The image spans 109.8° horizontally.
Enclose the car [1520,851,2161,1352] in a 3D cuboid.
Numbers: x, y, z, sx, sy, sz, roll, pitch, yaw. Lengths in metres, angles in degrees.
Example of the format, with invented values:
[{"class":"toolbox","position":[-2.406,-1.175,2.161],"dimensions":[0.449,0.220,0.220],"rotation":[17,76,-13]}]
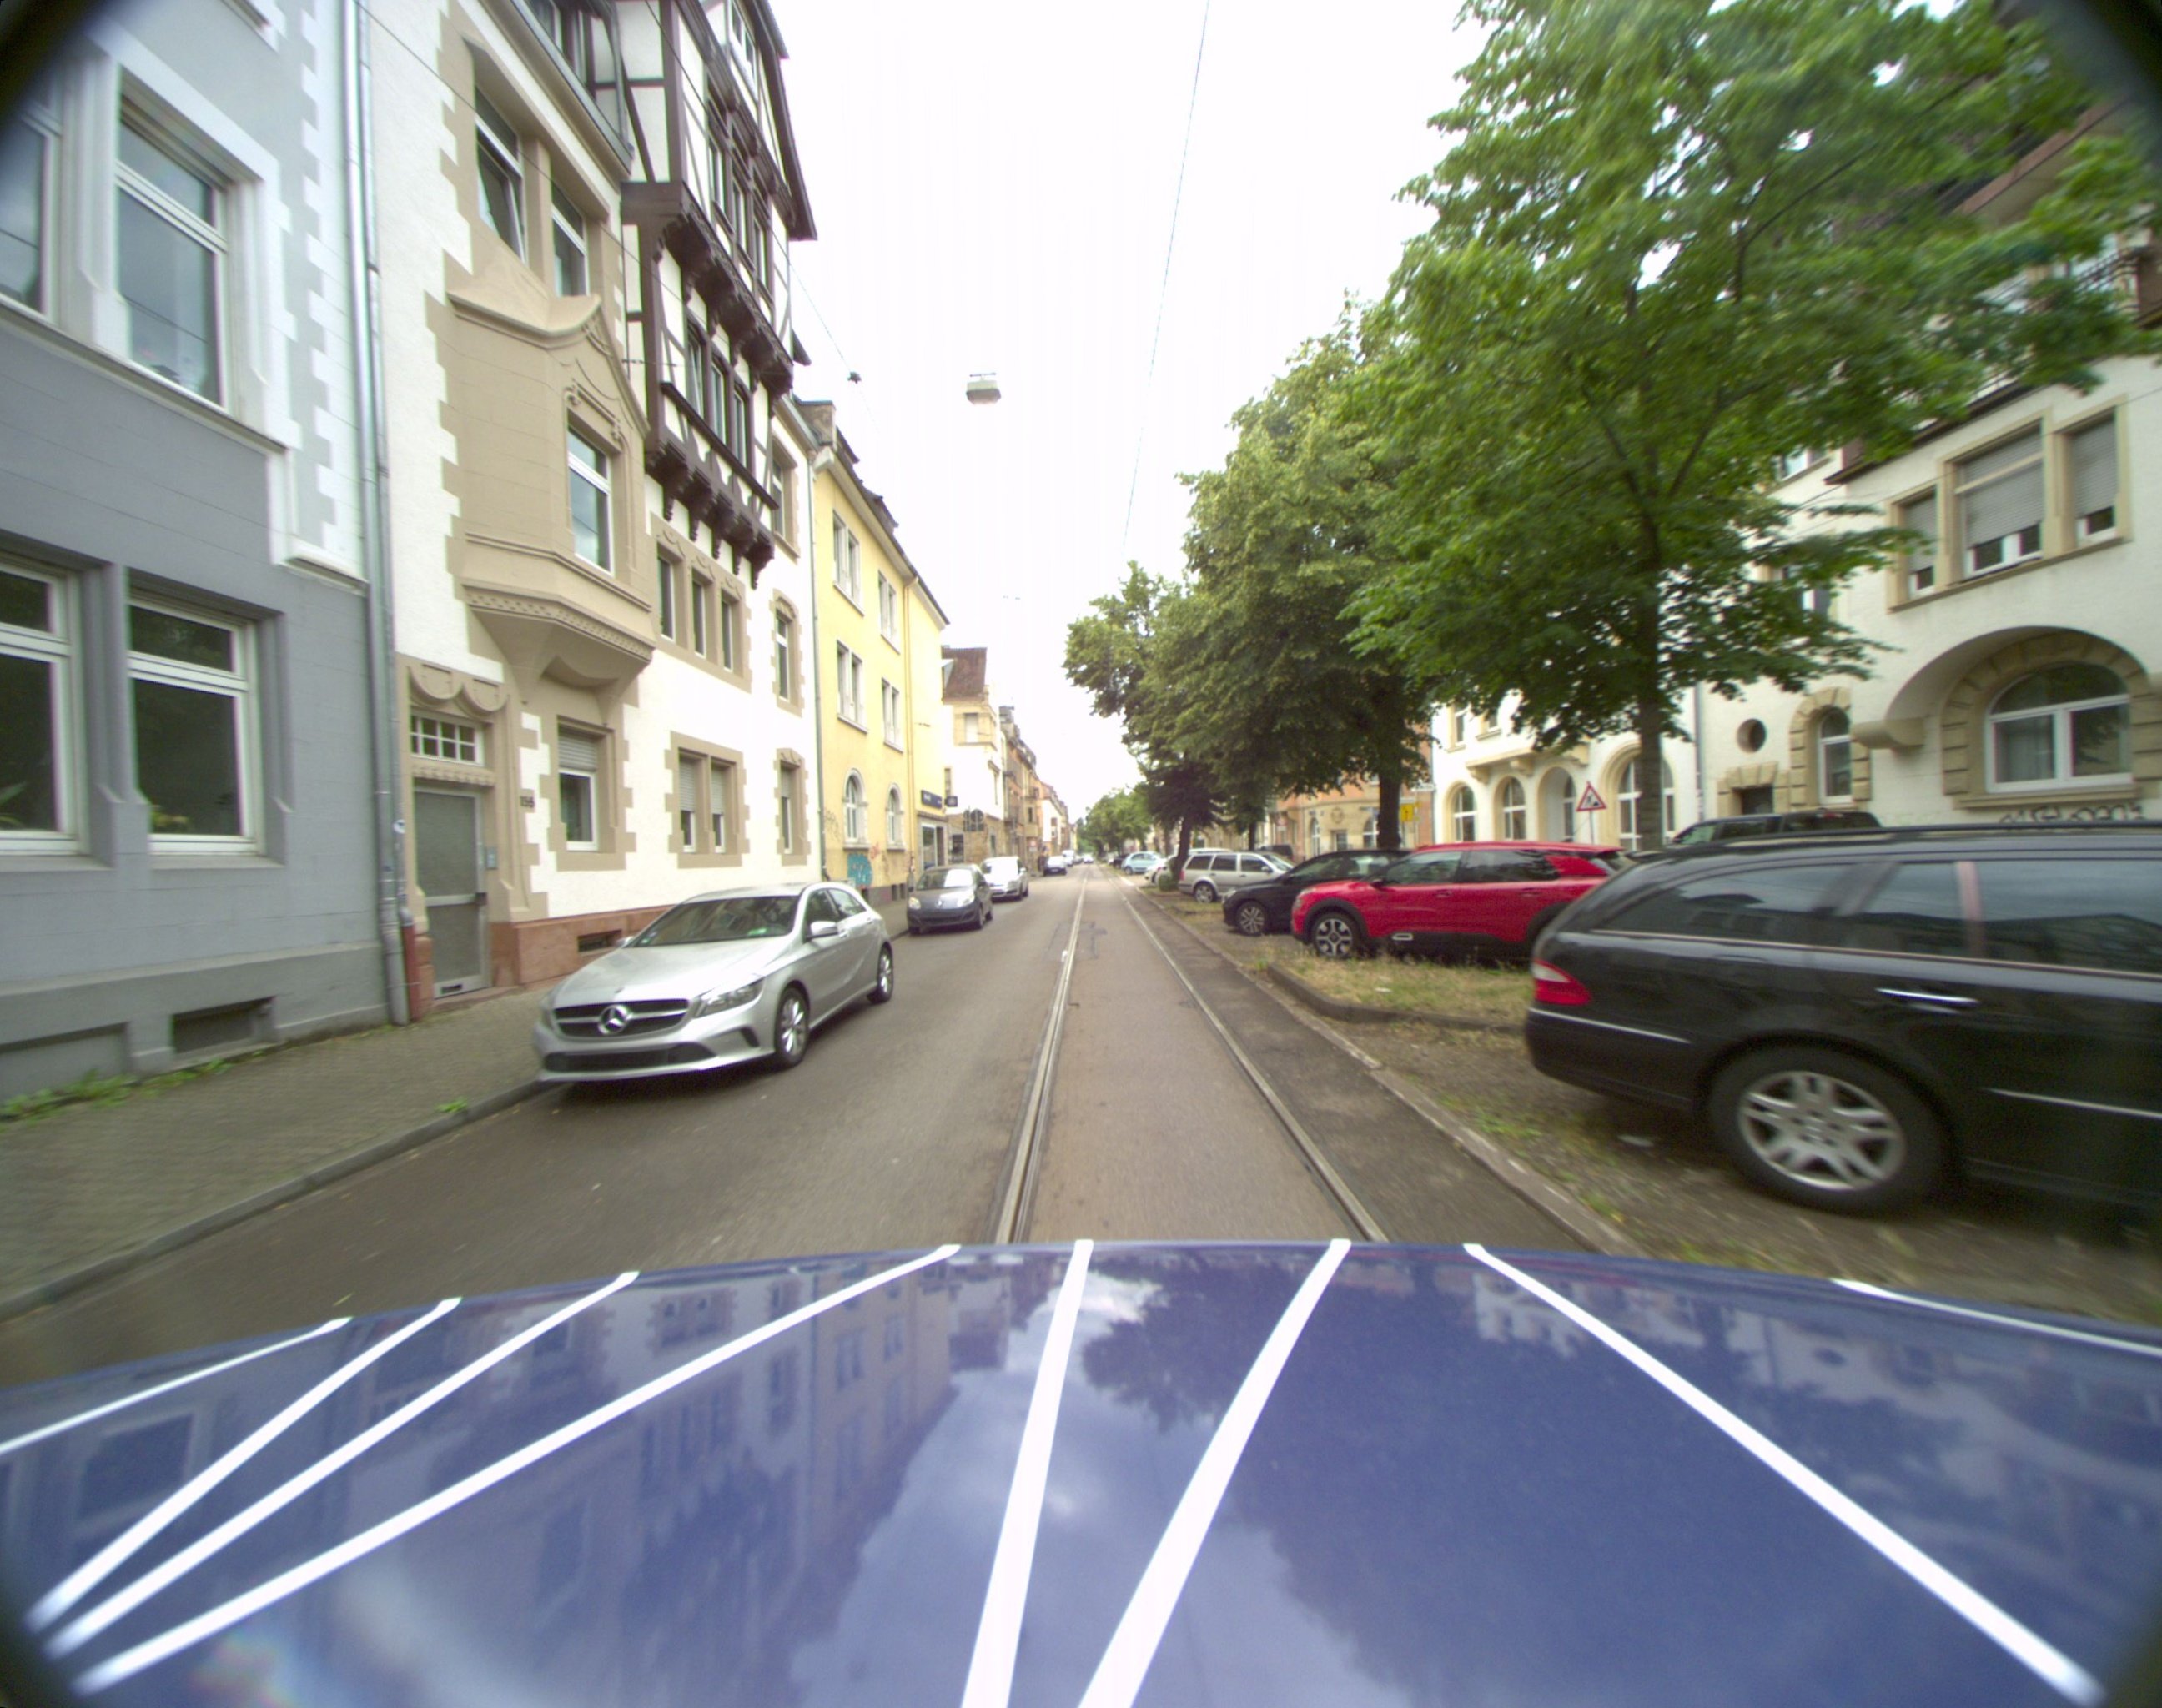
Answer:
[{"class":"car","position":[4.334,0.738,2.522],"dimensions":[1.889,1.458,4.595],"rotation":[-3,0,-43]}]

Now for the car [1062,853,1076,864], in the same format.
[{"class":"car","position":[-1.712,0.613,106.514],"dimensions":[1.824,1.477,4.000],"rotation":[-2,0,1]}]

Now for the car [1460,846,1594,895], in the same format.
[{"class":"car","position":[12.130,0.404,20.912],"dimensions":[1.639,1.169,3.380],"rotation":[-2,0,-1]}]

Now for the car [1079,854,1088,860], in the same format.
[{"class":"car","position":[0.589,0.693,177.067],"dimensions":[1.824,1.477,4.000],"rotation":[-2,0,1]}]

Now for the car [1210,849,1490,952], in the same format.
[{"class":"car","position":[4.391,0.712,12.802],"dimensions":[3.989,1.458,1.902],"rotation":[-2,-1,45]}]

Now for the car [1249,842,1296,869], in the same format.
[{"class":"car","position":[12.414,0.091,49.551],"dimensions":[1.795,1.596,4.512],"rotation":[-2,0,-1]}]

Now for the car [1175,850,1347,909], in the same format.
[{"class":"car","position":[4.721,0.673,20.186],"dimensions":[3.989,1.407,1.902],"rotation":[-2,-1,39]}]

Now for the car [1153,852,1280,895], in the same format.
[{"class":"car","position":[4.762,0.692,26.987],"dimensions":[3.989,1.407,1.902],"rotation":[-2,-1,39]}]

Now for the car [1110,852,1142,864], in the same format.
[{"class":"car","position":[6.116,0.533,103.819],"dimensions":[3.991,1.602,1.901],"rotation":[-2,-1,22]}]

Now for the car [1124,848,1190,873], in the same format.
[{"class":"car","position":[5.145,0.452,51.771],"dimensions":[3.989,1.602,1.902],"rotation":[-2,-1,32]}]

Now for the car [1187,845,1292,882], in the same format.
[{"class":"car","position":[6.620,0.425,31.634],"dimensions":[3.991,1.407,1.901],"rotation":[-2,-1,22]}]

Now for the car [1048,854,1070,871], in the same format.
[{"class":"car","position":[-2.063,0.806,72.350],"dimensions":[1.824,1.477,4.000],"rotation":[-2,0,1]}]

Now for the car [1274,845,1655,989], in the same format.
[{"class":"car","position":[4.486,0.656,9.219],"dimensions":[3.727,1.380,1.793],"rotation":[-2,-1,45]}]

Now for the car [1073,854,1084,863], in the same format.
[{"class":"car","position":[-0.478,0.851,142.145],"dimensions":[1.824,1.477,4.000],"rotation":[-2,0,1]}]

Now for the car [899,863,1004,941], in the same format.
[{"class":"car","position":[-2.978,1.050,18.299],"dimensions":[1.635,1.478,4.213],"rotation":[-5,0,0]}]

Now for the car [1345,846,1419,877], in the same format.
[{"class":"car","position":[12.286,0.283,31.201],"dimensions":[1.639,1.169,3.380],"rotation":[-2,0,-1]}]

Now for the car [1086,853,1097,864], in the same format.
[{"class":"car","position":[2.054,0.915,146.610],"dimensions":[1.998,2.002,3.999],"rotation":[-2,1,1]}]

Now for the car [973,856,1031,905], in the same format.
[{"class":"car","position":[-2.860,0.928,28.362],"dimensions":[1.635,1.519,4.212],"rotation":[-3,1,0]}]

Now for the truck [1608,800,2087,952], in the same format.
[{"class":"truck","position":[11.788,0.273,12.650],"dimensions":[2.150,1.845,6.065],"rotation":[-2,0,5]}]

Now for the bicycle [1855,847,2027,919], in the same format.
[{"class":"bicycle","position":[15.020,0.487,13.356],"dimensions":[0.613,1.120,1.914],"rotation":[-5,0,-11]}]

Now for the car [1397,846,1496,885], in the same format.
[{"class":"car","position":[12.193,0.350,25.593],"dimensions":[1.639,1.169,3.380],"rotation":[-2,0,-1]}]

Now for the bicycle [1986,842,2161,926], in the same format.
[{"class":"bicycle","position":[15.016,0.417,11.287],"dimensions":[0.613,1.120,1.914],"rotation":[-5,0,-11]}]

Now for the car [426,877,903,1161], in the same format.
[{"class":"car","position":[-3.111,1.110,6.878],"dimensions":[1.793,1.504,4.214],"rotation":[-5,0,2]}]

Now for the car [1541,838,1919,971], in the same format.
[{"class":"car","position":[9.060,0.596,11.301],"dimensions":[1.763,1.500,4.695],"rotation":[-2,0,3]}]

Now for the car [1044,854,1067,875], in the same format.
[{"class":"car","position":[-2.081,0.847,63.821],"dimensions":[1.676,1.519,4.212],"rotation":[-3,1,0]}]
